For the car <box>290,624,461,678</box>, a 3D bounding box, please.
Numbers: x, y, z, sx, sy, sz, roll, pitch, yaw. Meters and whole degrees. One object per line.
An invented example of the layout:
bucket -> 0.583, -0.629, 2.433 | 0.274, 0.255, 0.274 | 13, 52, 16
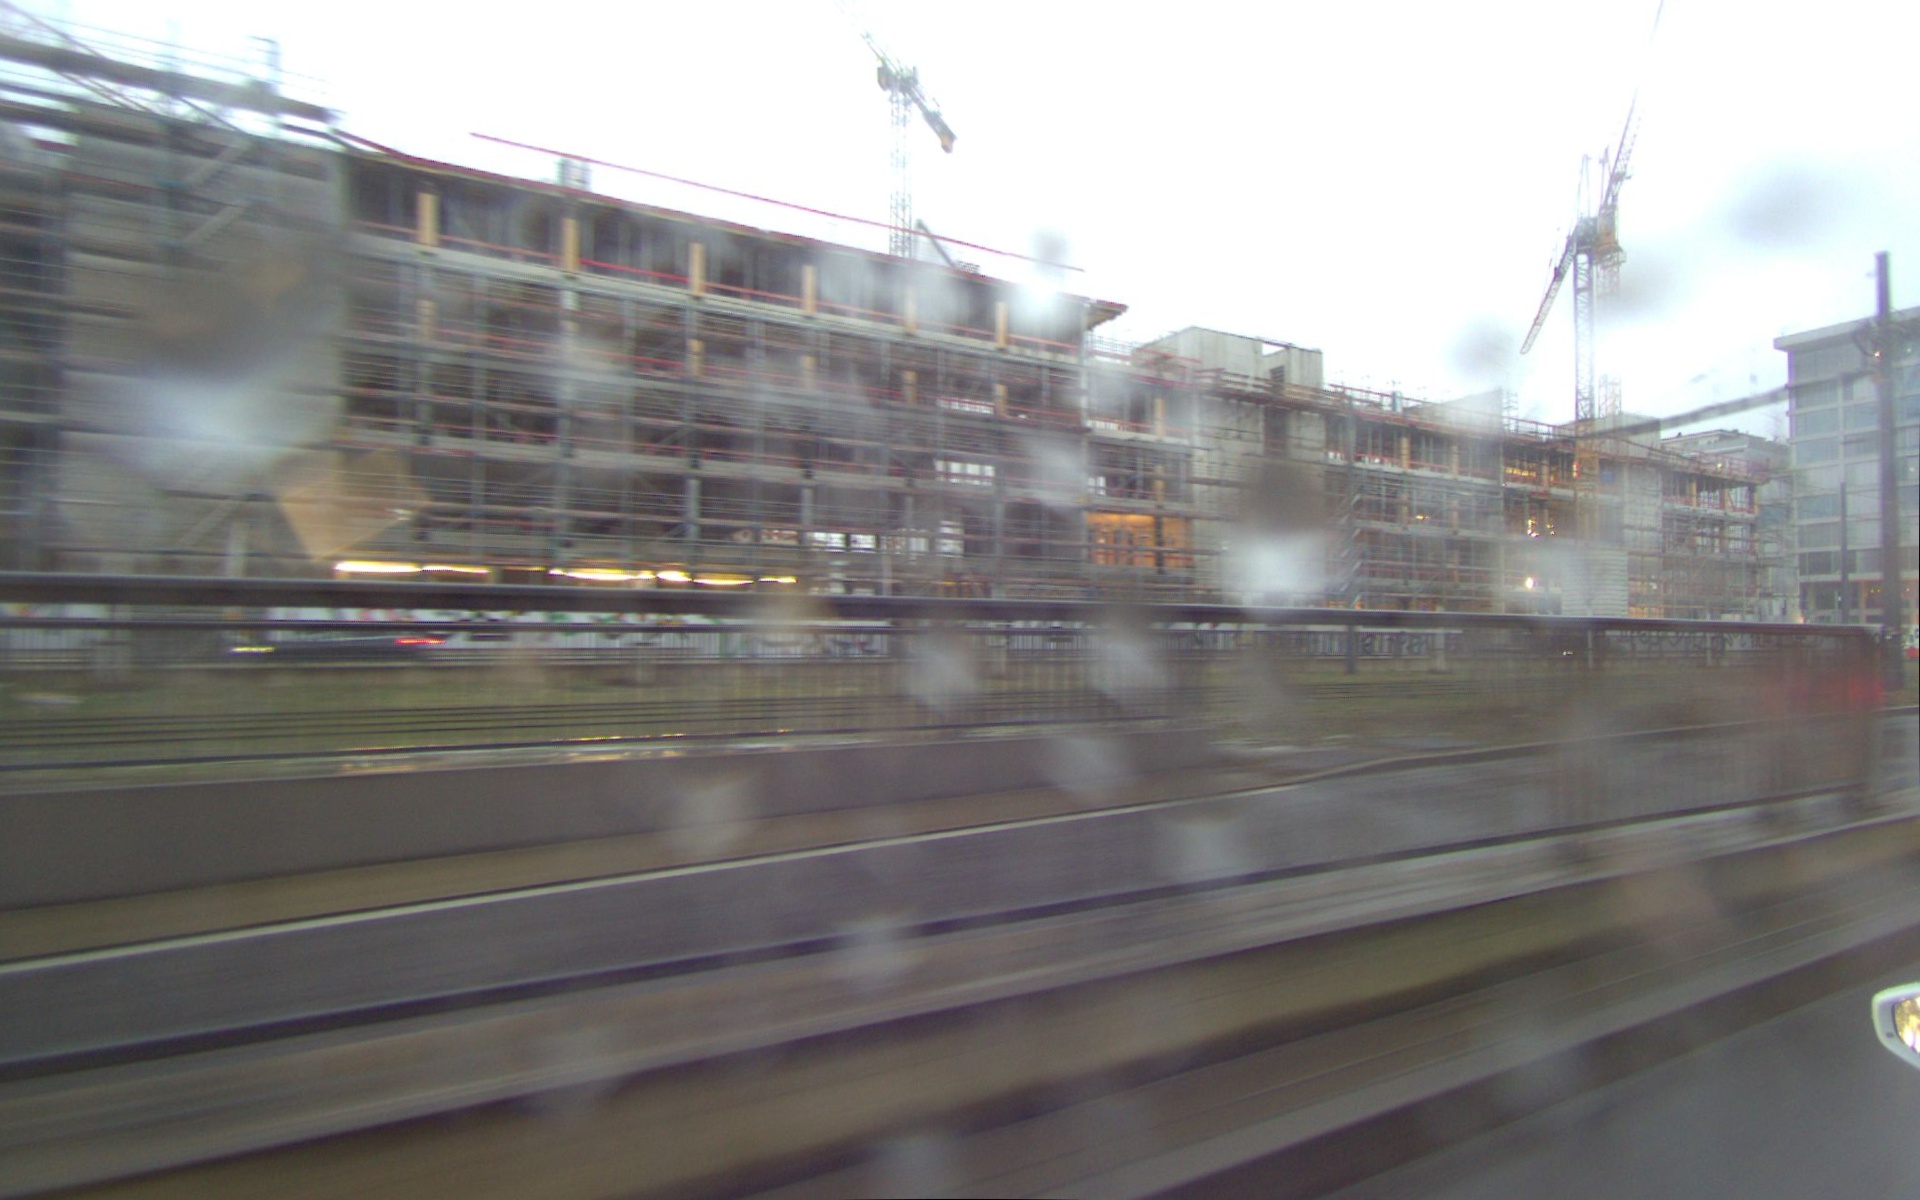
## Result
car -> -17.201, 1.462, 29.794 | 4.286, 1.433, 1.676 | 0, -1, -28
